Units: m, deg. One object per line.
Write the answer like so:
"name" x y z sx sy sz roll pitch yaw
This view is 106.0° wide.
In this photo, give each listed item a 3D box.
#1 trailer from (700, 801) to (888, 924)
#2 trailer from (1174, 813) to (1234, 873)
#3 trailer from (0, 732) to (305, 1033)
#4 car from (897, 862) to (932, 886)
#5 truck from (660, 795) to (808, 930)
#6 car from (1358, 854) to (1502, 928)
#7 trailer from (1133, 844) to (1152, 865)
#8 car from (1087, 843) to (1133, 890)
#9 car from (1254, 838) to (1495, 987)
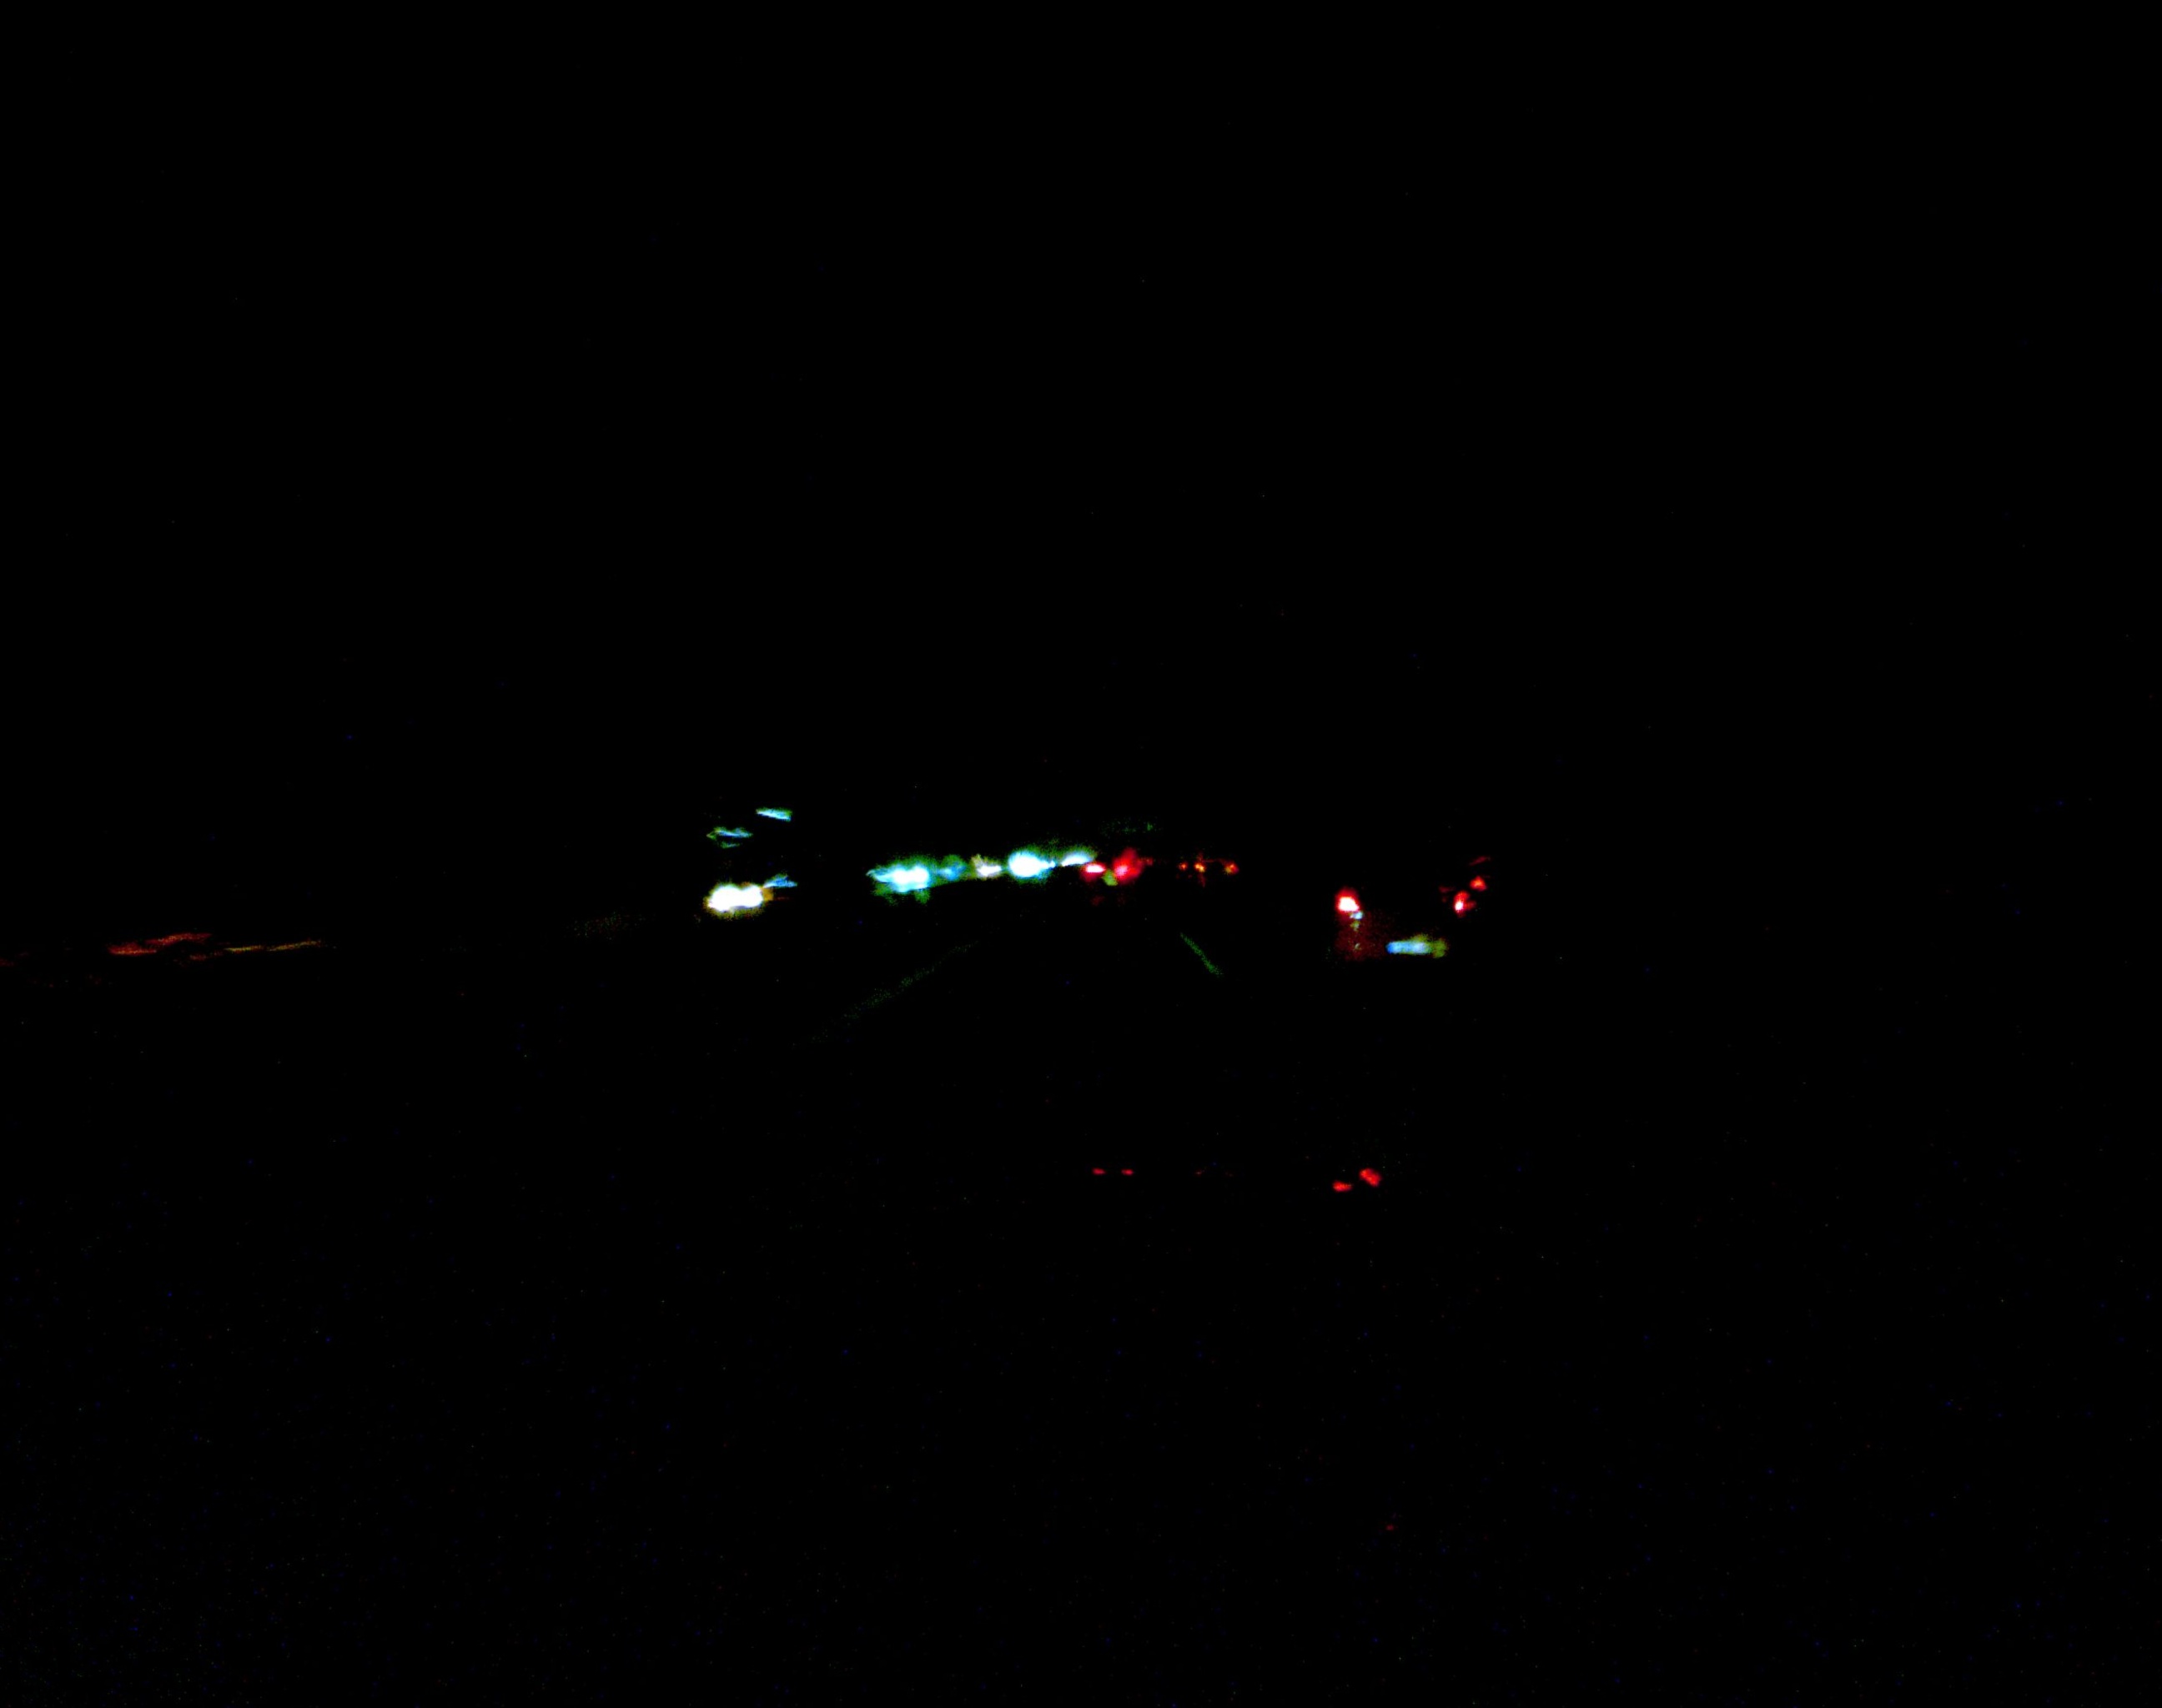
"trailer" -11.958 0.322 36.302 2.680 4.378 14.638 0 0 2
"trailer" 9.572 -0.673 65.252 2.892 4.109 14.492 -3 -1 2
"trailer" -16.629 0.389 7.944 2.680 4.221 15.651 0 0 2
"car" -14.742 1.779 72.392 1.986 2.014 4.393 -2 -1 2
"truck" -12.222 0.293 29.284 2.680 4.381 5.737 0 0 2
"car" 7.983 0.780 19.032 1.634 1.503 4.013 -2 0 0
"trailer" 13.327 0.178 177.406 3.031 4.109 13.826 -3 -2 0
"car" 1.286 0.555 36.934 1.986 2.014 4.001 0 -1 1
"car" 3.658 0.681 11.076 1.734 1.575 4.495 -1 -1 1
